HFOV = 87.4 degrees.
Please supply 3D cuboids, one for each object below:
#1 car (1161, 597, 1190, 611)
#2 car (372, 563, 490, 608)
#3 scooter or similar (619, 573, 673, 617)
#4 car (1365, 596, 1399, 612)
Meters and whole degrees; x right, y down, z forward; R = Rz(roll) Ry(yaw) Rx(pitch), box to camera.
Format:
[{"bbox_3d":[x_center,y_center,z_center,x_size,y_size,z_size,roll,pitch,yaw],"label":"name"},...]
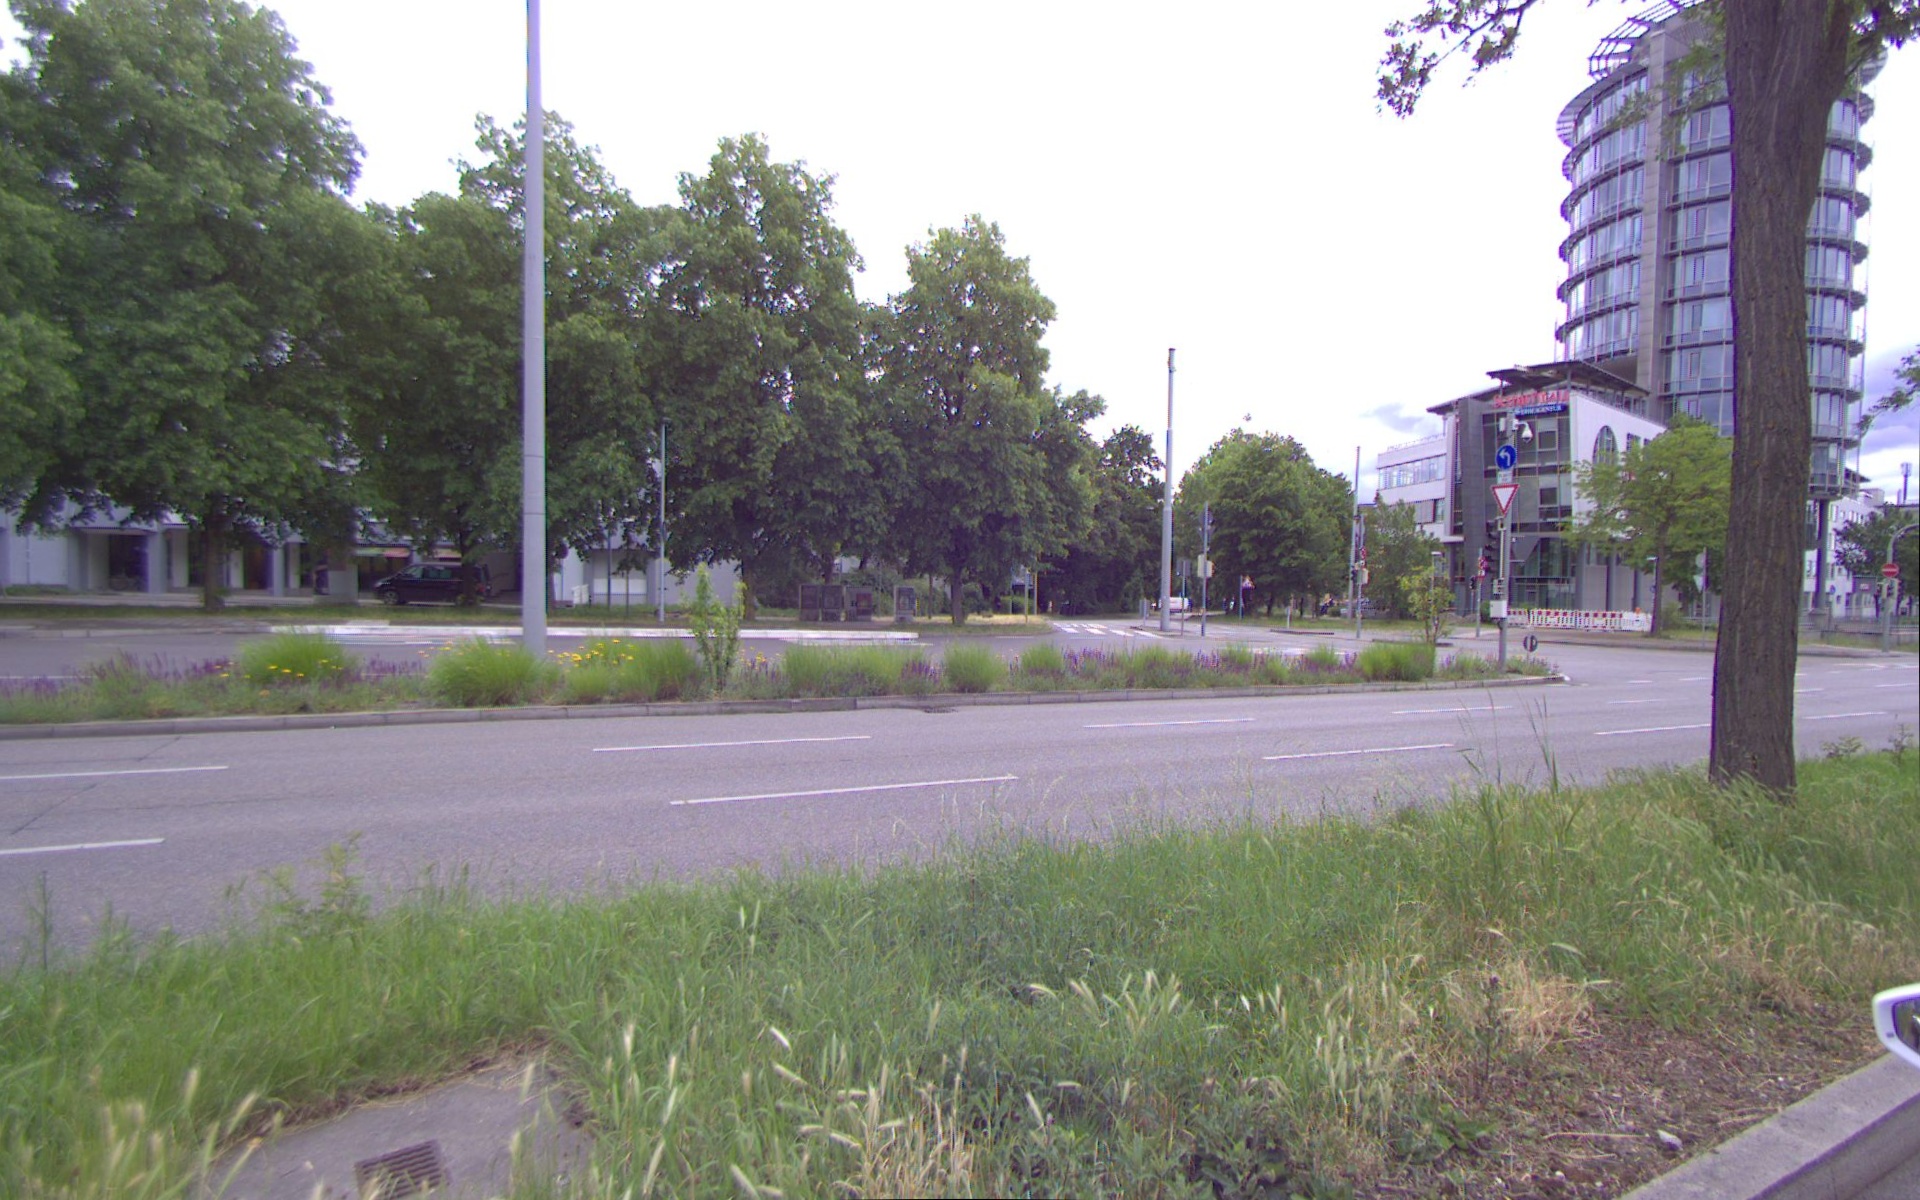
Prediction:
[{"bbox_3d":[37.716,0.654,175.489,4.475,2.370,1.994,2,0,-15],"label":"car"},{"bbox_3d":[-23.528,-0.641,44.816,4.345,1.872,1.781,1,1,-16],"label":"car"},{"bbox_3d":[-12.089,-0.184,38.704,1.835,1.686,0.645,1,1,-43],"label":"scooter or similar"},{"bbox_3d":[24.845,0.257,59.204,1.684,0.888,0.776,1,0,7],"label":"car"}]
